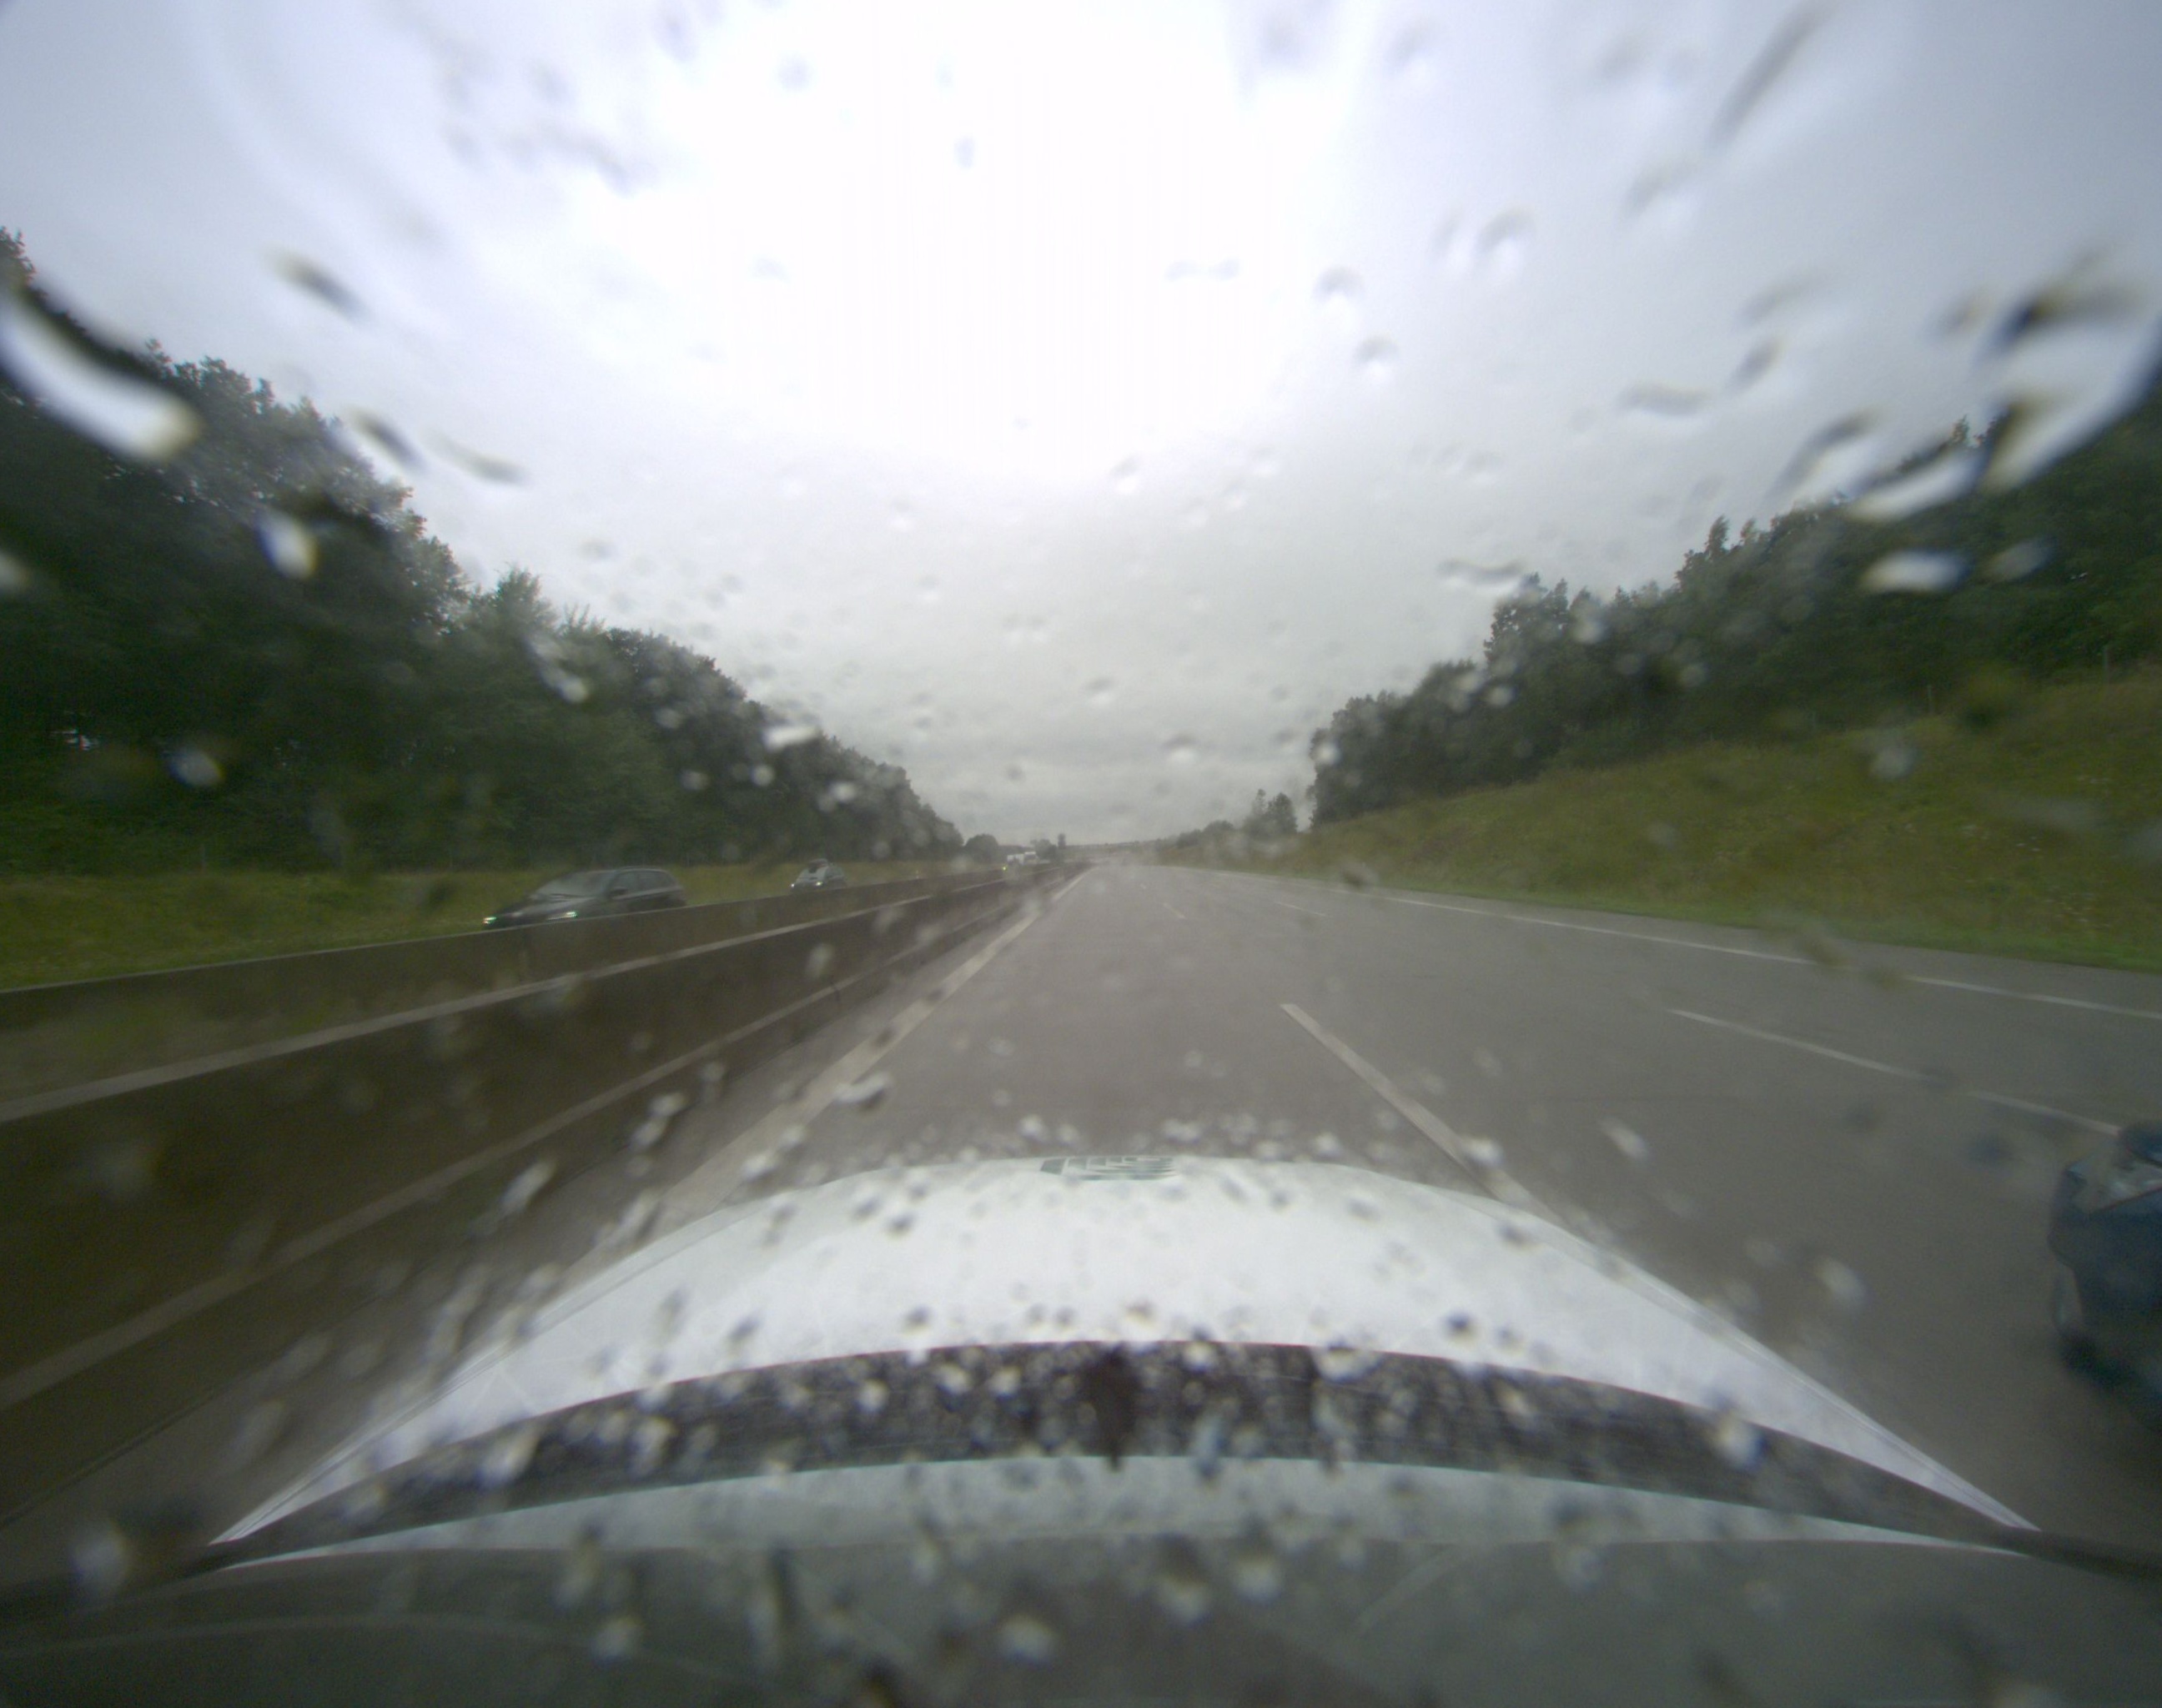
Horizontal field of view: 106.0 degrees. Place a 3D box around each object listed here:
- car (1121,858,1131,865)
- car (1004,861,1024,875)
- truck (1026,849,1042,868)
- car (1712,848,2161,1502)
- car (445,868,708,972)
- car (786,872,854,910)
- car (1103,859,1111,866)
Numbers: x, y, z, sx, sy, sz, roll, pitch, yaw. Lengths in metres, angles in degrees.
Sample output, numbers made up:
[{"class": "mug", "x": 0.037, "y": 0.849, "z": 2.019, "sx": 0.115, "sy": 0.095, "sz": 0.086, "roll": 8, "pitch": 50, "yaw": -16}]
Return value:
[{"class": "car", "x": 9.679, "y": 1.621, "z": 175.490, "sx": 1.841, "sy": 1.331, "sz": 4.431, "roll": -1, "pitch": 1, "yaw": 1}, {"class": "car", "x": -8.704, "y": 1.818, "z": 106.251, "sx": 1.987, "sy": 1.644, "sz": 5.410, "roll": -3, "pitch": -1, "yaw": 1}, {"class": "truck", "x": -10.151, "y": 0.848, "z": 174.963, "sx": 2.654, "sy": 3.875, "sz": 6.439, "roll": -2, "pitch": 0, "yaw": 2}, {"class": "car", "x": 3.261, "y": 0.706, "z": 0.816, "sx": 1.723, "sy": 1.459, "sz": 4.674, "roll": -2, "pitch": -1, "yaw": 2}, {"class": "car", "x": -9.623, "y": 1.160, "z": 16.158, "sx": 1.960, "sy": 1.610, "sz": 4.855, "roll": -2, "pitch": 0, "yaw": 3}, {"class": "car", "x": -14.261, "y": 1.997, "z": 44.771, "sx": 2.053, "sy": 1.802, "sz": 4.853, "roll": -2, "pitch": 0, "yaw": 1}, {"class": "car", "x": 5.598, "y": 1.742, "z": 174.636, "sx": 1.723, "sy": 1.331, "sz": 4.432, "roll": -1, "pitch": 1, "yaw": 2}]
